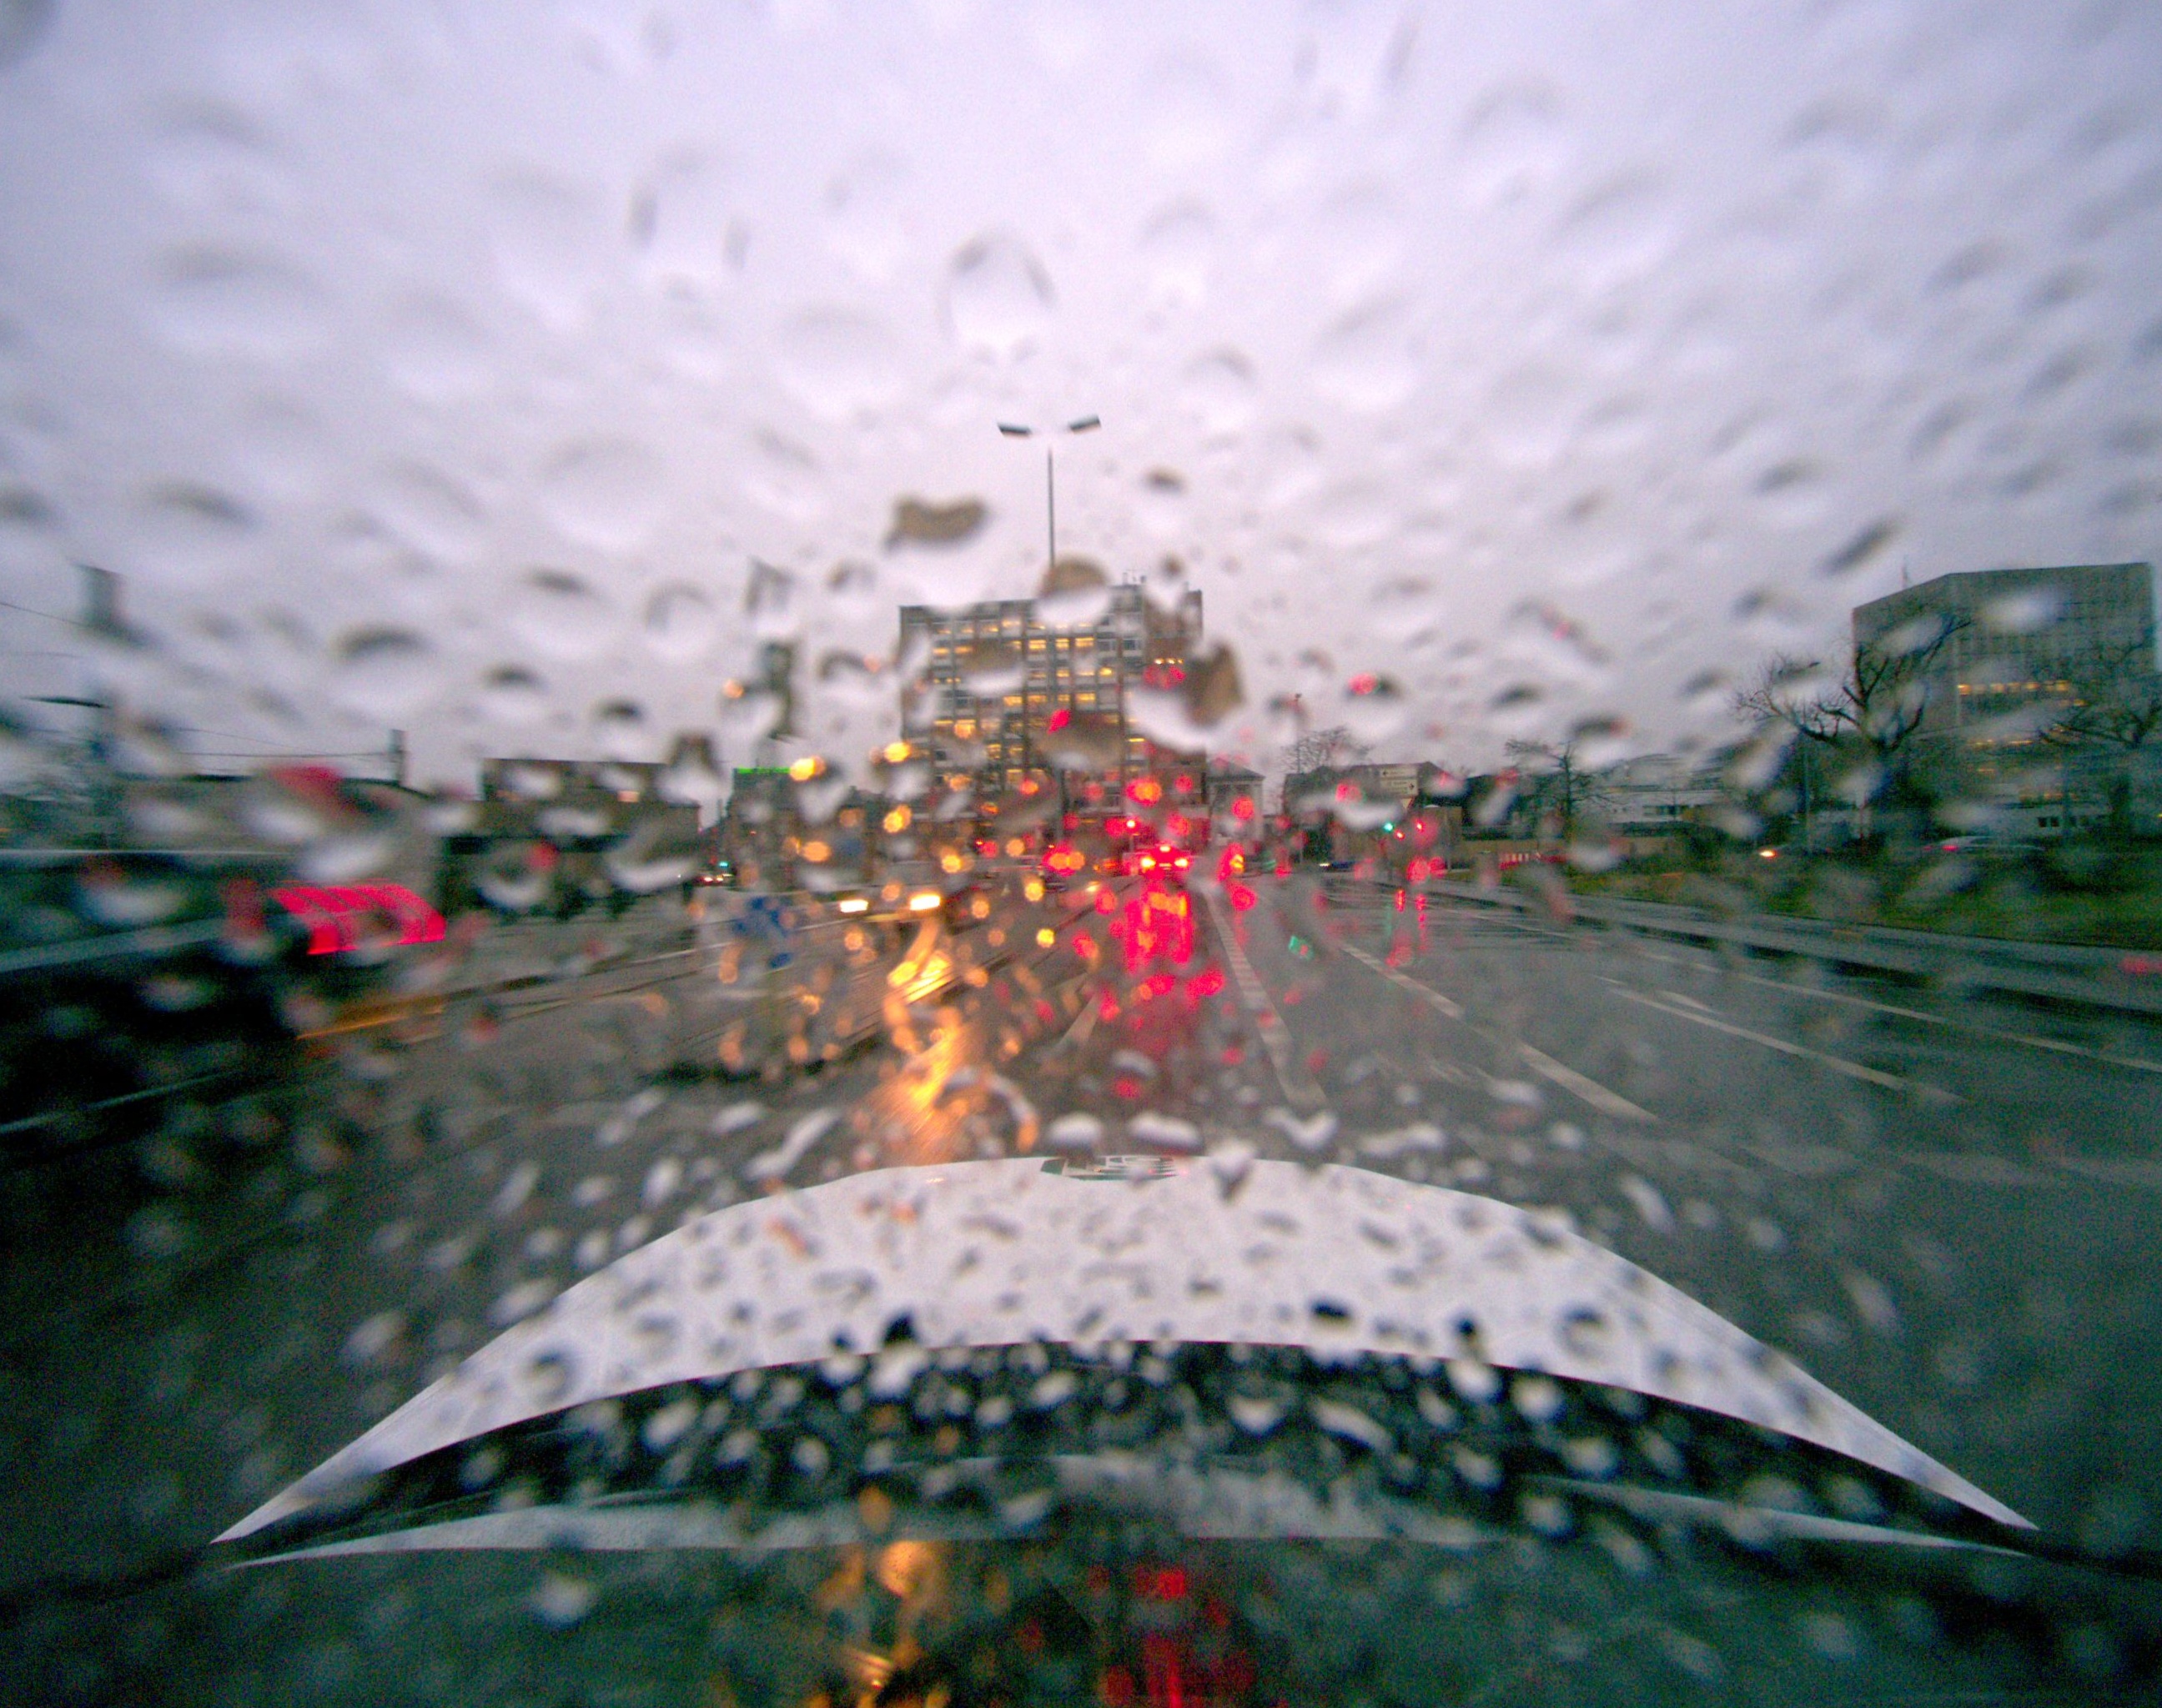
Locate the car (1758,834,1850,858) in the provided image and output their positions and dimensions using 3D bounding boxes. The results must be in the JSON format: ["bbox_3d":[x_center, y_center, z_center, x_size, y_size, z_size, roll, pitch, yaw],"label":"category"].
[{"bbox_3d":[50.739,-0.550,57.257,4.396,1.580,1.978,0,-2,20],"label":"car"}]

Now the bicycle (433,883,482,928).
[{"bbox_3d":[-16.913,1.379,22.130,0.551,1.165,1.884,1,-2,-22],"label":"bicycle"}]

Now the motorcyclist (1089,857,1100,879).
[{"bbox_3d":[0.739,0.791,44.683,0.533,1.193,0.612,0,-2,7],"label":"motorcyclist"}]

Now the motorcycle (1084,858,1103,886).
[{"bbox_3d":[0.713,0.964,44.708,0.825,1.497,2.318,-2,0,6],"label":"motorcycle"}]

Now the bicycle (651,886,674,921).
[{"bbox_3d":[-14.666,1.724,28.563,0.551,1.165,1.884,1,-2,-22],"label":"bicycle"}]

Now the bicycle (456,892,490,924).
[{"bbox_3d":[-23.094,2.039,30.977,0.551,1.165,1.884,1,-2,-22],"label":"bicycle"}]

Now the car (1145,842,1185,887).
[{"bbox_3d":[3.688,0.415,35.276,1.638,1.819,4.008,0,0,7],"label":"car"}]

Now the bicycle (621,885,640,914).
[{"bbox_3d":[-19.121,1.905,34.595,0.551,1.165,1.883,1,-2,-24],"label":"bicycle"}]

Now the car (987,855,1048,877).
[{"bbox_3d":[-5.706,1.070,73.331,5.109,1.913,2.010,0,0,22],"label":"car"}]

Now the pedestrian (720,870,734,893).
[{"bbox_3d":[-26.047,2.026,59.858,0.456,1.697,0.801,-1,-2,30],"label":"pedestrian"}]

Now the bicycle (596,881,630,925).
[{"bbox_3d":[-12.921,1.323,22.517,0.551,1.165,1.928,1,-2,-22],"label":"bicycle"}]

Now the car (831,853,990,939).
[{"bbox_3d":[-3.190,0.733,16.218,1.737,1.378,4.375,-3,0,7],"label":"car"}]

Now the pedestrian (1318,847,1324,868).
[{"bbox_3d":[21.910,0.315,74.273,0.433,1.839,0.462,-1,-2,25],"label":"pedestrian"}]

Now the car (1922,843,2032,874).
[{"bbox_3d":[49.039,0.281,44.647,3.610,1.651,1.895,0,-2,11],"label":"car"}]

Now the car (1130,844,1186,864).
[{"bbox_3d":[8.064,0.033,85.032,5.509,2.024,2.007,0,-2,13],"label":"car"}]

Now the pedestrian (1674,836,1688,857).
[{"bbox_3d":[49.784,-0.623,67.577,0.619,1.725,0.763,0,-2,14],"label":"pedestrian"}]

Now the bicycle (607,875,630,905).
[{"bbox_3d":[-18.567,1.434,32.702,0.551,1.165,1.884,1,-2,-22],"label":"bicycle"}]

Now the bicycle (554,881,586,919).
[{"bbox_3d":[-16.633,1.482,26.547,0.551,1.165,1.884,1,-2,-22],"label":"bicycle"}]

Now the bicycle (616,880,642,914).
[{"bbox_3d":[-15.766,1.479,28.425,0.551,1.165,1.884,1,-2,-22],"label":"bicycle"}]

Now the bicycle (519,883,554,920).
[{"bbox_3d":[-17.676,1.527,26.474,0.551,1.165,1.884,1,-2,-22],"label":"bicycle"}]

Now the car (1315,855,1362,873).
[{"bbox_3d":[20.326,0.786,64.273,3.380,1.398,1.477,0,0,22],"label":"car"}]

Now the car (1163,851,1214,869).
[{"bbox_3d":[8.939,0.494,67.763,3.882,1.486,1.477,0,-2,22],"label":"car"}]

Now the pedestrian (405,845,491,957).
[{"bbox_3d":[-9.733,0.710,12.545,0.669,1.674,0.732,0,-2,10],"label":"pedestrian"}]

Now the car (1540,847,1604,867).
[{"bbox_3d":[36.409,0.231,60.472,3.761,1.398,1.571,0,-2,15],"label":"car"}]

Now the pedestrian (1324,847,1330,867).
[{"bbox_3d":[22.209,0.271,73.392,0.454,1.839,0.441,-1,-2,24],"label":"pedestrian"}]

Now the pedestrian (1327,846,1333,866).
[{"bbox_3d":[22.645,0.210,73.949,0.433,1.839,0.462,-1,-2,25],"label":"pedestrian"}]

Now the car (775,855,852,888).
[{"bbox_3d":[-19.294,1.294,58.839,4.976,2.282,2.270,0,-2,23],"label":"car"}]

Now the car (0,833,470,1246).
[{"bbox_3d":[-5.251,0.783,3.285,1.745,1.662,4.538,-3,0,6],"label":"car"}]

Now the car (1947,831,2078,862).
[{"bbox_3d":[31.542,-0.258,27.674,2.647,0.977,1.310,-1,1,32],"label":"car"}]

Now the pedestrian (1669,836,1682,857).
[{"bbox_3d":[49.940,-0.608,68.430,0.619,1.725,0.763,0,-2,14],"label":"pedestrian"}]
